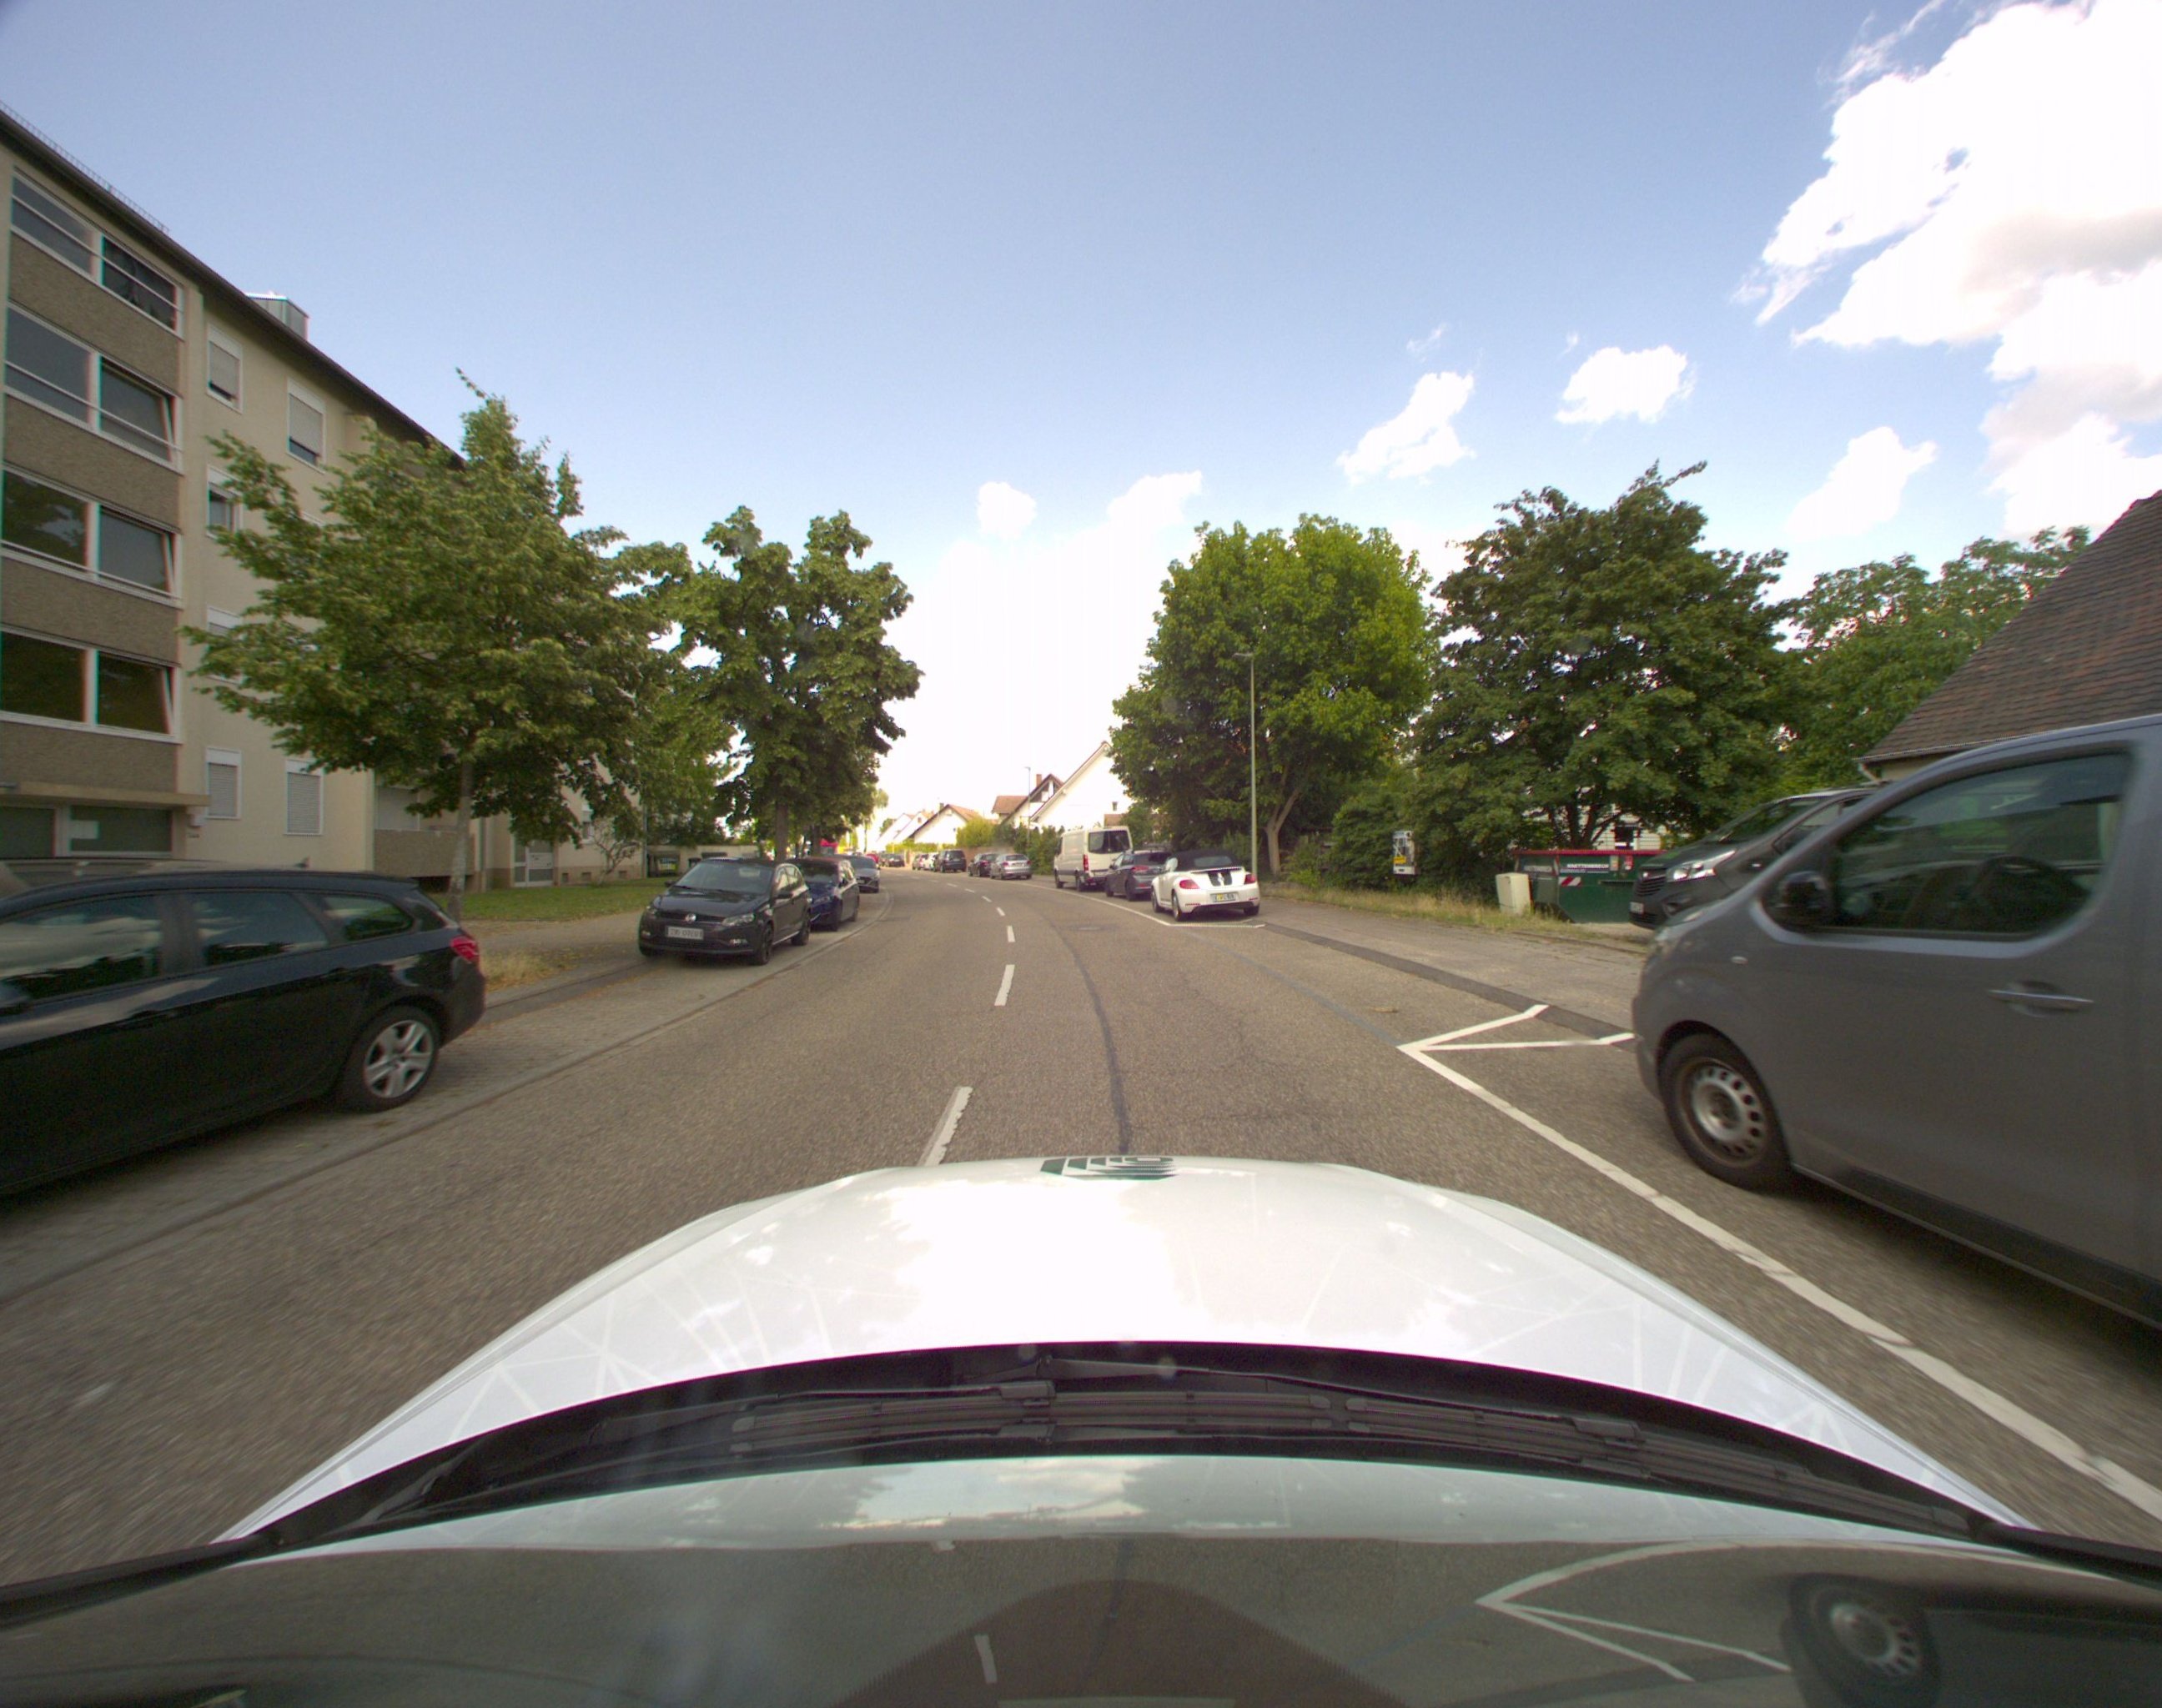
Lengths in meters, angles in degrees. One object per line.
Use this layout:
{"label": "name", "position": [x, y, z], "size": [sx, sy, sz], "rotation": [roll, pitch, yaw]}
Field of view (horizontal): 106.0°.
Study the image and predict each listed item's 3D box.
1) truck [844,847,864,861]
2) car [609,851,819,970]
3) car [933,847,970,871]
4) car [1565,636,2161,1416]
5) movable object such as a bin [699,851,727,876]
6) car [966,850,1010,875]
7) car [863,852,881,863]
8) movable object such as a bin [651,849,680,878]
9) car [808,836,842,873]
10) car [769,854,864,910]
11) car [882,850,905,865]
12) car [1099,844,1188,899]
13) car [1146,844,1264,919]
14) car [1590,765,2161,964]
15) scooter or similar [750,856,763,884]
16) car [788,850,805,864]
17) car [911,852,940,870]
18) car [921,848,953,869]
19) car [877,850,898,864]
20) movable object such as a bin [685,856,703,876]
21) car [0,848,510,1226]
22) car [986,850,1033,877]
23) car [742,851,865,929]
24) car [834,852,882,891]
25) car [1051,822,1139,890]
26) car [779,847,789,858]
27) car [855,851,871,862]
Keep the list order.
{"label": "truck", "position": [-37.379, -0.029, 133.973], "size": [2.578, 2.260, 6.487], "rotation": [0, 0, -22]}
{"label": "car", "position": [-5.374, 0.735, 12.532], "size": [1.758, 1.489, 4.023], "rotation": [2, 0, -7]}
{"label": "car", "position": [-9.959, 0.336, 62.299], "size": [1.802, 1.748, 4.549], "rotation": [0, 0, -23]}
{"label": "car", "position": [3.595, 0.403, 2.122], "size": [1.835, 1.944, 4.878], "rotation": [-2, 0, 2]}
{"label": "movable object such as a bin", "position": [-20.237, 0.505, 44.765], "size": [1.192, 1.274, 0.876], "rotation": [-1, 3, -9]}
{"label": "car", "position": [-5.911, 0.500, 51.215], "size": [1.743, 1.509, 4.445], "rotation": [0, 0, -20]}
{"label": "car", "position": [-28.319, 0.475, 110.482], "size": [1.802, 1.523, 4.499], "rotation": [0, 0, -22]}
{"label": "movable object such as a bin", "position": [-22.376, 0.507, 43.908], "size": [1.200, 1.437, 1.362], "rotation": [-1, 4, -21]}
{"label": "car", "position": [-19.254, 0.034, 61.121], "size": [2.070, 2.501, 5.802], "rotation": [4, -1, -19]}
{"label": "car", "position": [-7.571, 0.750, 23.679], "size": [1.835, 1.439, 4.081], "rotation": [2, 0, -7]}
{"label": "car", "position": [-20.372, 0.364, 88.338], "size": [1.802, 1.523, 3.944], "rotation": [0, 0, -22]}
{"label": "car", "position": [1.874, 0.508, 25.645], "size": [1.719, 1.585, 4.106], "rotation": [0, 0, -12]}
{"label": "car", "position": [2.695, 0.543, 18.737], "size": [1.737, 1.512, 4.451], "rotation": [0, 0, -5]}
{"label": "car", "position": [9.556, 0.093, 10.004], "size": [5.297, 2.057, 2.010], "rotation": [1, 0, 19]}
{"label": "scooter or similar", "position": [-14.251, 0.698, 35.787], "size": [0.420, 1.165, 1.134], "rotation": [1, 0, -17]}
{"label": "car", "position": [-37.985, 0.394, 108.569], "size": [1.794, 1.601, 4.401], "rotation": [4, -2, -23]}
{"label": "car", "position": [-13.862, 0.591, 72.339], "size": [1.802, 1.523, 3.943], "rotation": [0, 0, -23]}
{"label": "car", "position": [-12.069, 0.369, 68.083], "size": [1.803, 1.748, 3.942], "rotation": [0, 0, -24]}
{"label": "car", "position": [-22.012, 0.336, 92.613], "size": [1.802, 1.523, 3.944], "rotation": [0, 0, -22]}
{"label": "movable object such as a bin", "position": [-21.178, 0.640, 44.600], "size": [0.624, 1.024, 0.876], "rotation": [0, 3, -9]}
{"label": "car", "position": [-5.125, 0.718, 3.697], "size": [1.753, 1.489, 4.506], "rotation": [0, 0, 2]}
{"label": "car", "position": [-4.073, 0.494, 46.039], "size": [1.742, 1.457, 4.338], "rotation": [0, 0, -18]}
{"label": "car", "position": [-6.056, 0.750, 18.321], "size": [1.759, 1.489, 4.557], "rotation": [2, -1, -8]}
{"label": "car", "position": [-9.410, 0.686, 34.268], "size": [1.764, 1.489, 4.320], "rotation": [2, 0, -16]}
{"label": "car", "position": [0.411, 0.062, 32.015], "size": [2.119, 2.441, 5.869], "rotation": [0, 0, -13]}
{"label": "car", "position": [-63.908, -0.375, 175.056], "size": [1.795, 2.252, 4.736], "rotation": [-1, 0, -23]}
{"label": "car", "position": [-32.022, 0.382, 119.473], "size": [1.802, 1.523, 4.499], "rotation": [0, 0, -22]}
